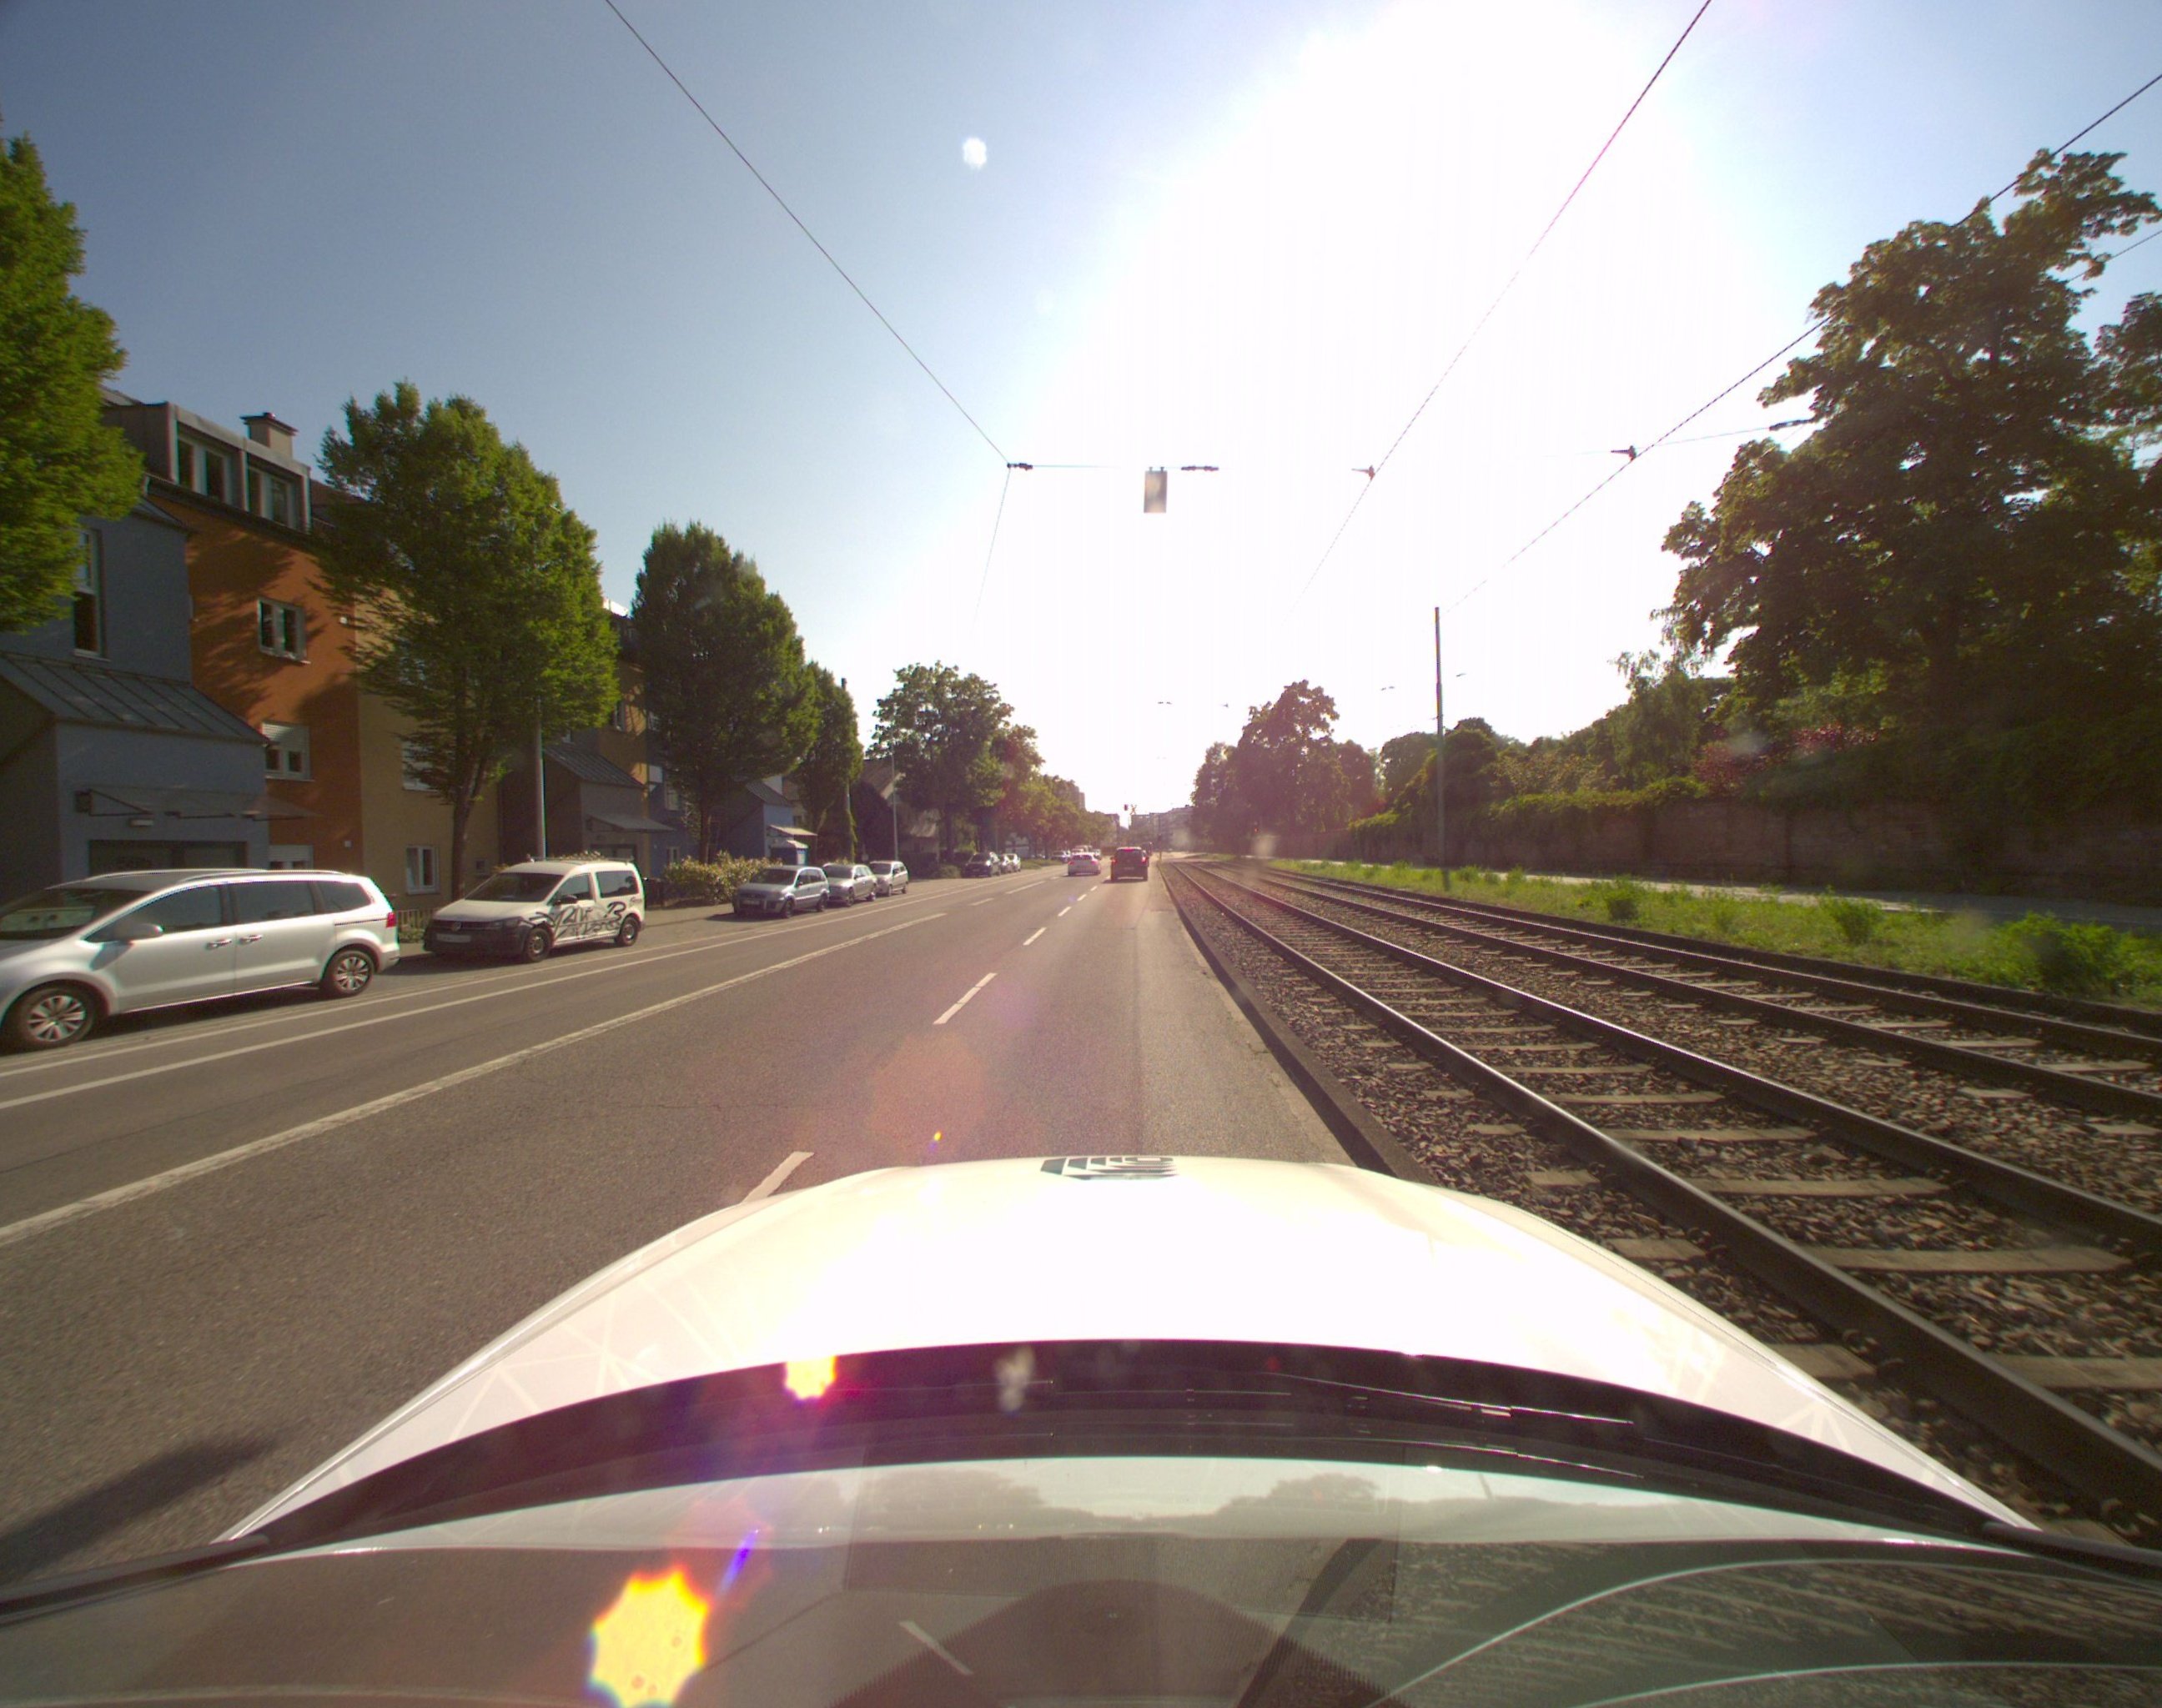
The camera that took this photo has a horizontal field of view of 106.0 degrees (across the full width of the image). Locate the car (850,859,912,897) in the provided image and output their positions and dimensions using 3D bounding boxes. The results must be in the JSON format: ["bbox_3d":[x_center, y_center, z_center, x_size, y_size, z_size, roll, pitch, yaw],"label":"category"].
[{"bbox_3d":[-8.812,1.036,36.083,1.594,1.494,3.513,2,1,4],"label":"car"}]

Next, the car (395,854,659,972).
[{"bbox_3d":[-10.473,0.989,15.918,1.755,1.845,4.584,3,1,3],"label":"car"}]

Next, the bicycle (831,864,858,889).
[{"bbox_3d":[-11.567,1.079,39.930,0.440,1.154,1.790,-2,0,12],"label":"bicycle"}]

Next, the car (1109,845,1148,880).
[{"bbox_3d":[2.424,0.413,40.636,1.802,1.644,4.006,-1,0,5],"label":"car"}]

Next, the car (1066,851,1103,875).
[{"bbox_3d":[0.265,0.543,49.732,1.856,1.348,4.006,-1,0,5],"label":"car"}]

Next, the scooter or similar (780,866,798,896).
[{"bbox_3d":[-11.846,1.087,33.046,0.293,1.153,1.043,-2,0,1],"label":"scooter or similar"}]

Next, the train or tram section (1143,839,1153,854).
[{"bbox_3d":[17.296,-1.870,209.486,2.315,3.570,8.913,-2,0,5],"label":"train or tram section"}]

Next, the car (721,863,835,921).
[{"bbox_3d":[-9.484,1.130,25.848,1.754,1.539,3.987,3,1,5],"label":"car"}]

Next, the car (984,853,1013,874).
[{"bbox_3d":[-6.379,0.722,63.313,1.670,1.468,3.971,-2,0,3],"label":"car"}]

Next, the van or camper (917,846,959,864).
[{"bbox_3d":[-23.814,0.178,135.653,6.432,2.868,2.311,-2,0,5],"label":"van or camper"}]

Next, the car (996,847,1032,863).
[{"bbox_3d":[-10.668,0.152,129.892,5.350,2.423,2.090,-2,0,5],"label":"car"}]

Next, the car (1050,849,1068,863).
[{"bbox_3d":[-2.888,0.226,106.166,1.723,1.657,4.008,-2,0,6],"label":"car"}]

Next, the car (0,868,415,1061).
[{"bbox_3d":[-10.794,1.073,9.589,1.660,1.701,4.830,0,0,5],"label":"car"}]

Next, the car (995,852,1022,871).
[{"bbox_3d":[-6.113,0.627,69.035,1.593,1.550,3.899,0,0,4],"label":"car"}]

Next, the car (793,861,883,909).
[{"bbox_3d":[-9.031,1.095,30.677,1.742,1.510,4.758,2,1,2],"label":"car"}]

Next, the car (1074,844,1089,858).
[{"bbox_3d":[0.063,-0.510,135.922,1.854,2.347,4.994,-2,0,6],"label":"car"}]

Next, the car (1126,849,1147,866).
[{"bbox_3d":[4.978,0.332,72.755,1.803,1.449,4.006,0,0,5],"label":"car"}]

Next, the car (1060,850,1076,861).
[{"bbox_3d":[-1.865,0.216,118.119,1.723,1.389,3.742,-2,1,6],"label":"car"}]

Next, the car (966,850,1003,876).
[{"bbox_3d":[-6.778,0.628,57.615,1.704,1.694,4.429,-2,0,5],"label":"car"}]
